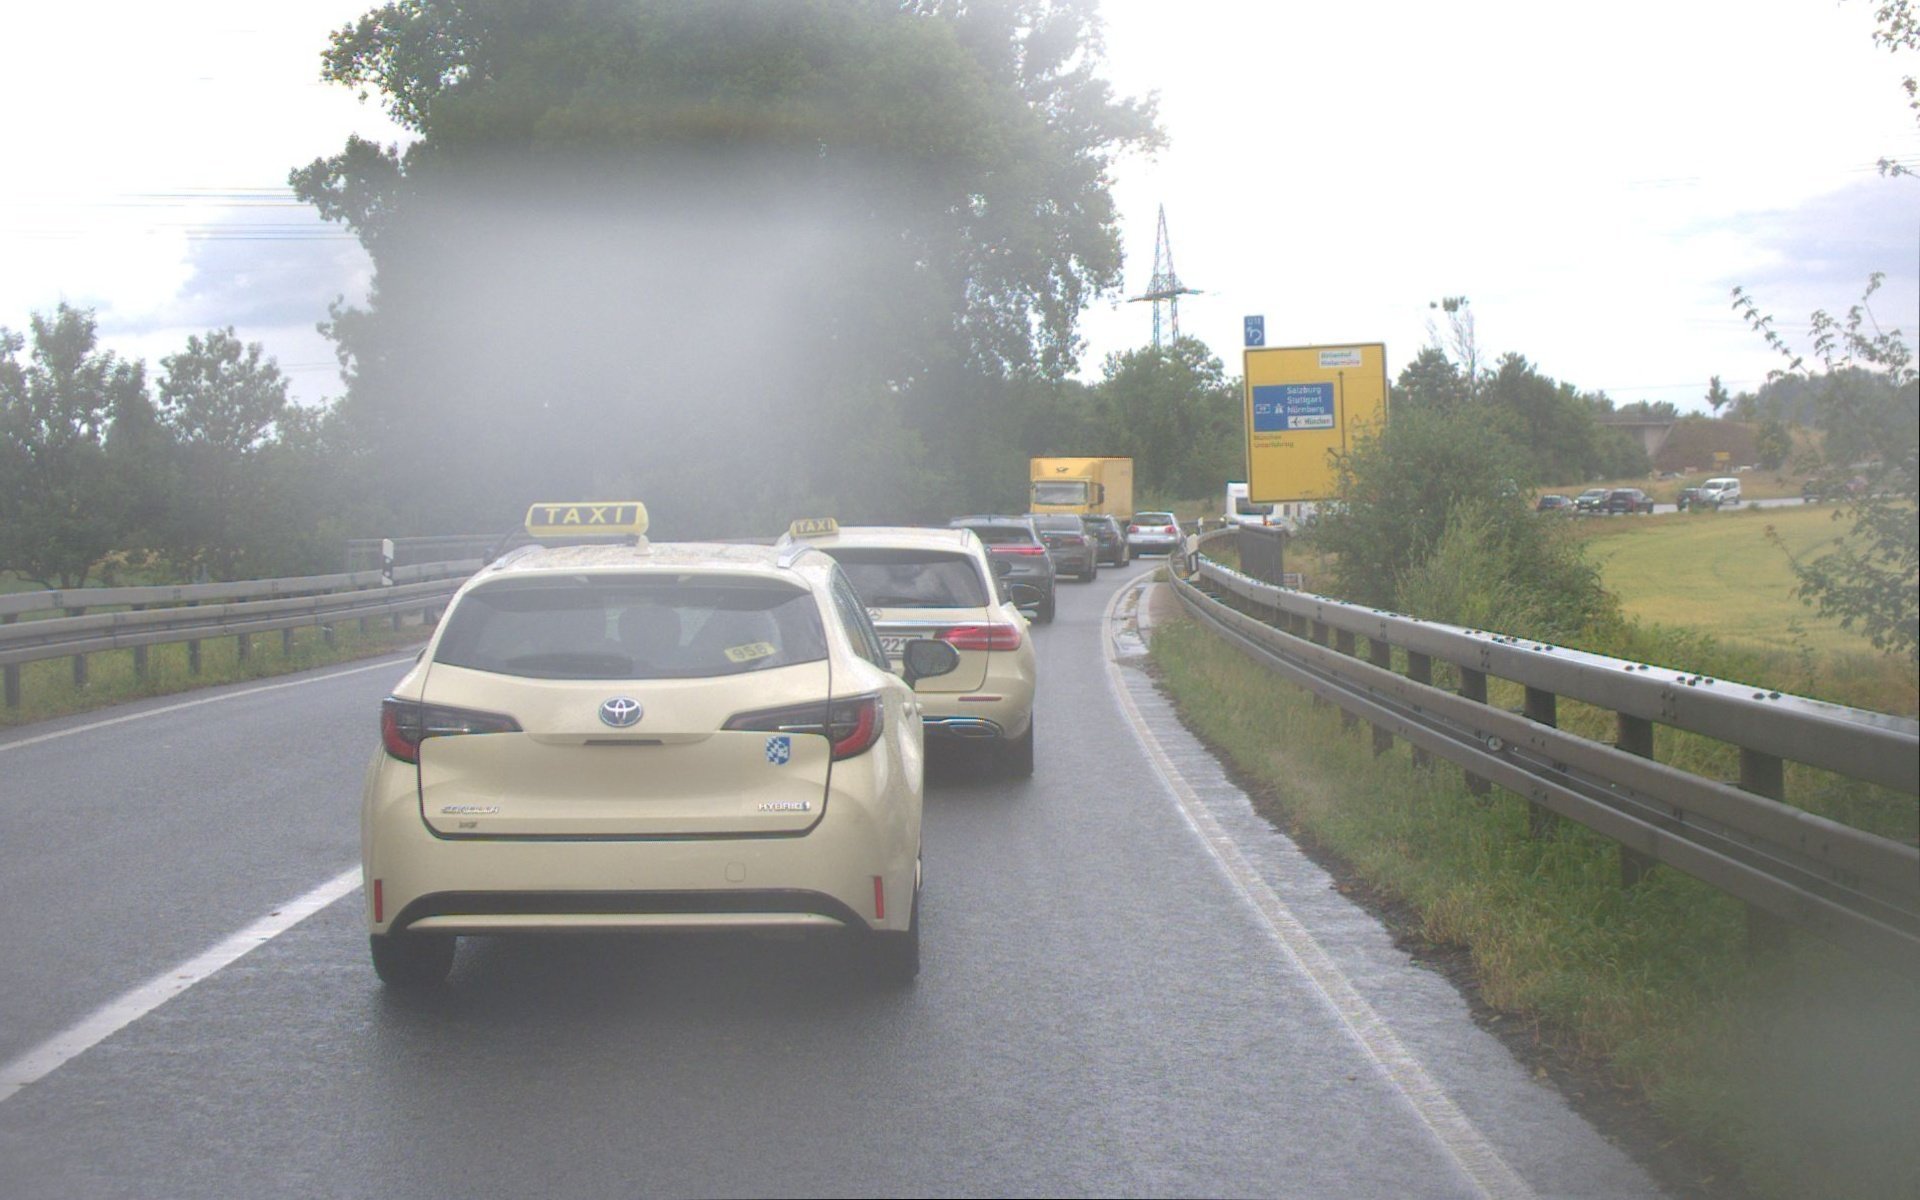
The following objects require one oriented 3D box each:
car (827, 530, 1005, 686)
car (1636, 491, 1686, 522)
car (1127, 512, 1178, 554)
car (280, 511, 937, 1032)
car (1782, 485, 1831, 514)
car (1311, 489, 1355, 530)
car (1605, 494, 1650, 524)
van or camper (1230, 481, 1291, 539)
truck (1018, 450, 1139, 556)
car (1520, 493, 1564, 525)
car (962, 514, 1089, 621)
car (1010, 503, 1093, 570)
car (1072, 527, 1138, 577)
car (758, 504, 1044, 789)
[{"bbox_3d":[-0.386,0.039,33.554,1.506,1.432,3.355,0,1,3],"label":"car"},{"bbox_3d":[46.382,-6.158,227.397,1.997,2.007,3.993,1,1,31],"label":"car"},{"bbox_3d":[6.122,-2.142,109.111,1.483,1.304,3.476,0,1,6],"label":"car"},{"bbox_3d":[-1.047,0.462,12.189,1.906,1.532,4.162,0,1,0],"label":"car"},{"bbox_3d":[61.646,-7.310,250.364,2.145,2.007,3.992,1,1,35],"label":"car"},{"bbox_3d":[17.004,-4.097,156.556,1.732,1.813,3.998,1,1,10],"label":"car"},{"bbox_3d":[42.512,-5.806,218.816,1.821,1.831,3.983,1,1,26],"label":"car"},{"bbox_3d":[11.997,-3.571,136.990,1.994,2.246,3.998,1,1,11],"label":"van or camper"},{"bbox_3d":[4.278,-3.514,121.964,2.772,3.417,9.185,2,4,11],"label":"truck"},{"bbox_3d":[34.735,-5.443,205.197,1.922,1.831,3.996,1,1,20],"label":"car"},{"bbox_3d":[0.898,-0.485,48.809,1.665,1.459,3.477,0,1,-1],"label":"car"},{"bbox_3d":[2.014,-1.367,74.724,1.660,1.404,3.904,0,0,4],"label":"car"},{"bbox_3d":[3.885,-1.297,91.526,1.483,1.304,3.476,0,1,7],"label":"car"},{"bbox_3d":[-0.285,0.217,20.830,1.578,1.567,3.681,0,1,1],"label":"car"}]
